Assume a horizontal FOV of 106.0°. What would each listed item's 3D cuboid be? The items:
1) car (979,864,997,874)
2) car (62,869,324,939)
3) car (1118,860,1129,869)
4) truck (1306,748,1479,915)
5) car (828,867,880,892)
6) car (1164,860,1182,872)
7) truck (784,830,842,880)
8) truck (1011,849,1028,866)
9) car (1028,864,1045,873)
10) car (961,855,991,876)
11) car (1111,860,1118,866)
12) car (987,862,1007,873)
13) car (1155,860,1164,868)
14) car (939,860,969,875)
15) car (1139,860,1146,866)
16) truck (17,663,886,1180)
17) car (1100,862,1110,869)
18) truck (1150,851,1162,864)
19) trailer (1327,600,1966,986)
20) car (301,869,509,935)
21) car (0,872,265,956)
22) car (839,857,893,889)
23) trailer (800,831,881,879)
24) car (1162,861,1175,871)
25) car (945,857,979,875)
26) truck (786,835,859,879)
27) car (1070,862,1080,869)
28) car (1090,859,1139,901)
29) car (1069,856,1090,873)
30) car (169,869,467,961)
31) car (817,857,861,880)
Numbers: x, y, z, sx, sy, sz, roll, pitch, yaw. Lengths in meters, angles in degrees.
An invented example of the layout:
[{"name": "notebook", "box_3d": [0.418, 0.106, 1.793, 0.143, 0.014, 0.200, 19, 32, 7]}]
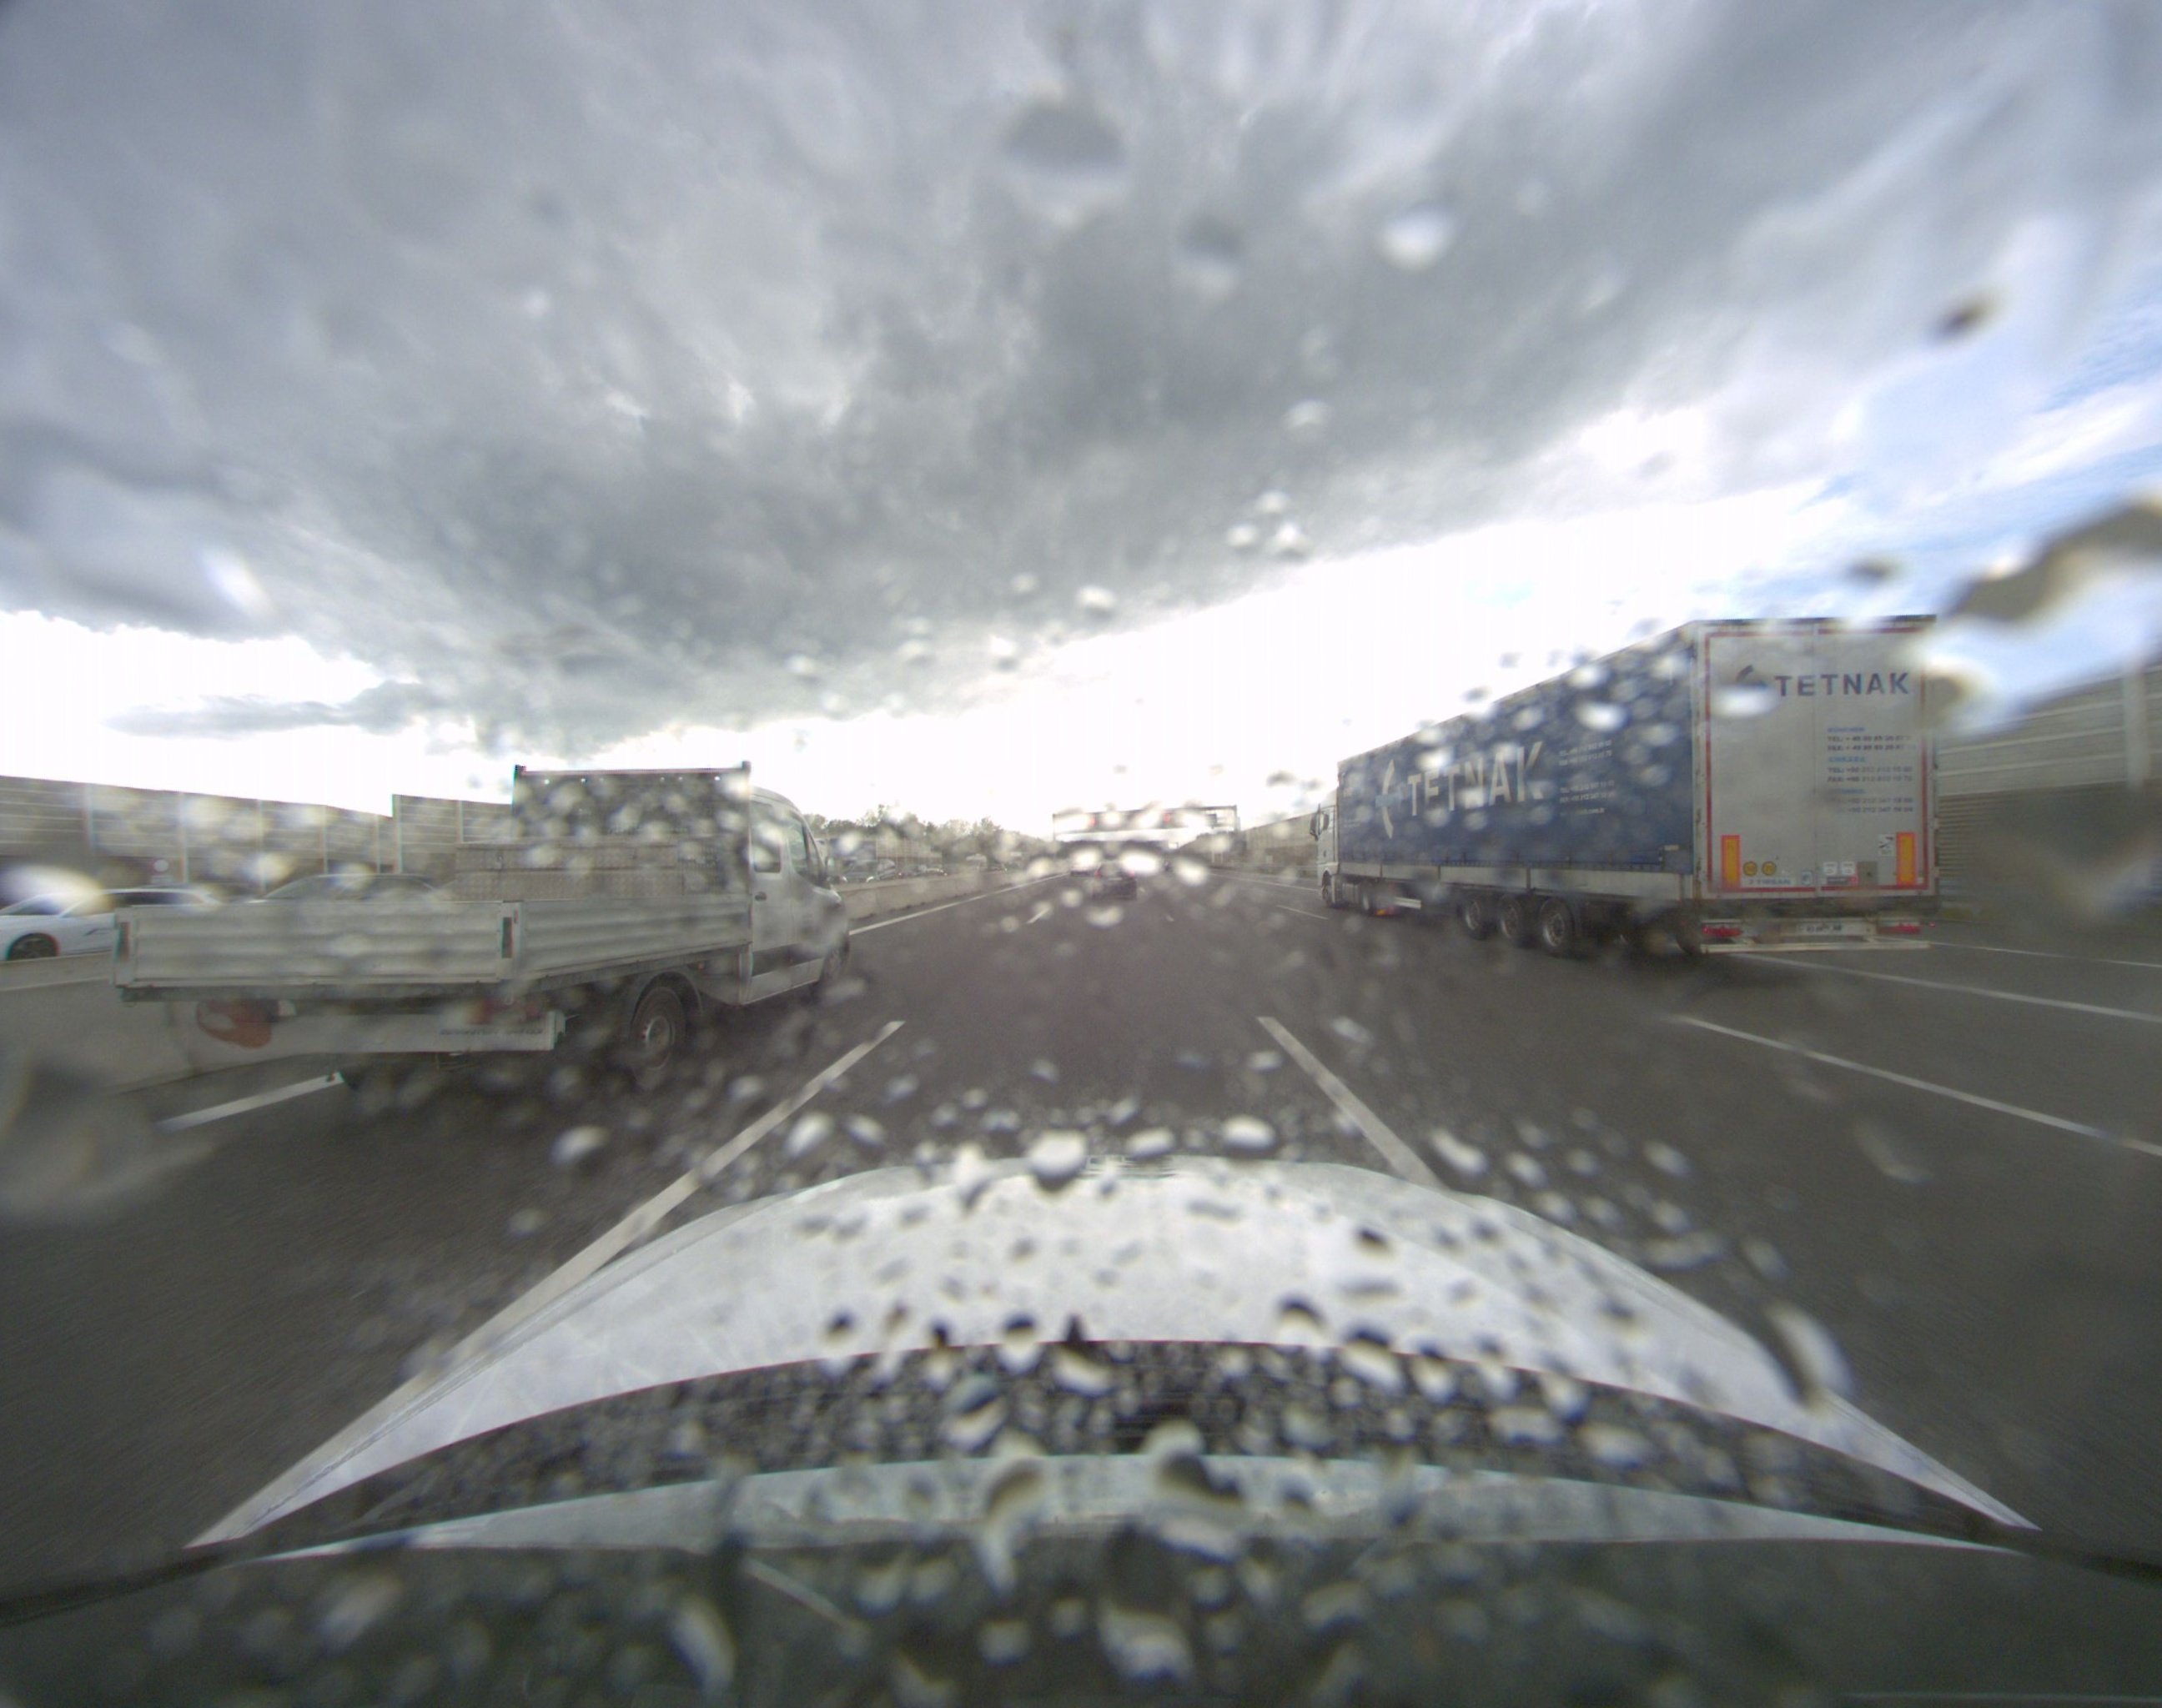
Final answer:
[{"name": "car", "box_3d": [-15.563, 2.505, 136.148, 2.051, 1.491, 5.003, -2, -1, 4]}, {"name": "car", "box_3d": [-25.768, 1.374, 24.014, 2.053, 1.699, 5.090, -1, 0, 1]}, {"name": "car", "box_3d": [8.388, 2.097, 158.900, 1.959, 1.561, 4.437, -2, -1, 4]}, {"name": "truck", "box_3d": [8.397, -0.531, 22.780, 2.734, 4.035, 5.728, -1, -1, 2]}, {"name": "car", "box_3d": [-15.790, 1.717, 56.865, 2.052, 1.599, 5.000, -1, -1, 2]}, {"name": "car", "box_3d": [11.562, 1.494, 102.443, 1.942, 1.418, 4.235, -2, -1, 3]}, {"name": "truck", "box_3d": [-22.653, 0.123, 69.069, 2.734, 4.035, 5.729, -1, -1, 2]}, {"name": "truck", "box_3d": [-14.397, 0.822, 191.488, 2.959, 4.035, 5.732, -1, -1, 4]}, {"name": "car", "box_3d": [-7.340, 2.347, 134.308, 2.051, 1.491, 5.003, -2, -1, 4]}, {"name": "car", "box_3d": [-13.369, 1.431, 104.433, 2.372, 2.550, 7.094, -1, -1, 4]}, {"name": "car", "box_3d": [9.660, 2.556, 233.910, 1.959, 1.561, 4.437, -2, -1, 4]}, {"name": "car", "box_3d": [-12.600, 1.979, 121.932, 2.051, 1.491, 5.003, -2, -1, 4]}, {"name": "car", "box_3d": [17.500, 2.273, 181.713, 1.874, 1.561, 4.437, -2, -1, 4]}, {"name": "car", "box_3d": [-13.758, 1.429, 88.524, 2.051, 1.491, 5.003, -2, -1, 4]}, {"name": "car", "box_3d": [16.241, 2.434, 215.333, 1.959, 1.561, 4.437, -2, -1, 4]}, {"name": "truck", "box_3d": [-3.886, 0.331, 7.486, 2.299, 2.439, 7.149, -1, 0, 1]}, {"name": "car", "box_3d": [5.077, 2.437, 172.563, 1.959, 1.561, 4.437, -2, -1, 4]}, {"name": "truck", "box_3d": [21.120, 0.924, 230.717, 3.138, 3.602, 12.713, 0, 0, 4]}, {"name": "trailer", "box_3d": [8.150, -0.601, 15.841, 2.750, 4.032, 14.459, -1, 0, 2]}, {"name": "car", "box_3d": [-20.571, 1.374, 25.167, 2.053, 1.699, 5.090, -1, 0, 1]}, {"name": "car", "box_3d": [-20.692, 1.181, 17.020, 2.051, 1.491, 5.001, -2, -1, 3]}, {"name": "car", "box_3d": [-12.244, 1.042, 46.662, 1.866, 1.699, 4.223, -1, 0, 1]}, {"name": "trailer", "box_3d": [-22.417, 0.158, 77.064, 2.750, 4.032, 14.459, -1, 0, 2]}, {"name": "car", "box_3d": [14.810, 1.987, 137.754, 1.875, 1.542, 4.435, -2, -1, 3]}, {"name": "car", "box_3d": [-10.492, 1.075, 72.101, 2.052, 1.491, 5.000, -1, -1, 2]}, {"name": "truck", "box_3d": [-22.446, 0.262, 71.361, 2.685, 3.527, 10.004, 0, 0, 3]}, {"name": "car", "box_3d": [-1.558, 2.825, 205.541, 2.051, 1.645, 5.385, -2, -1, 4]}, {"name": "car", "box_3d": [1.257, 0.948, 31.445, 1.711, 1.417, 4.279, -1, 0, 1]}, {"name": "car", "box_3d": [-0.130, 0.986, 78.607, 1.710, 1.624, 4.282, -1, 0, 3]}, {"name": "car", "box_3d": [-17.192, 1.273, 18.859, 2.054, 1.699, 5.088, -1, 0, 0]}, {"name": "car", "box_3d": [-19.077, 1.101, 64.472, 1.866, 1.699, 5.016, -1, 0, 1]}]
